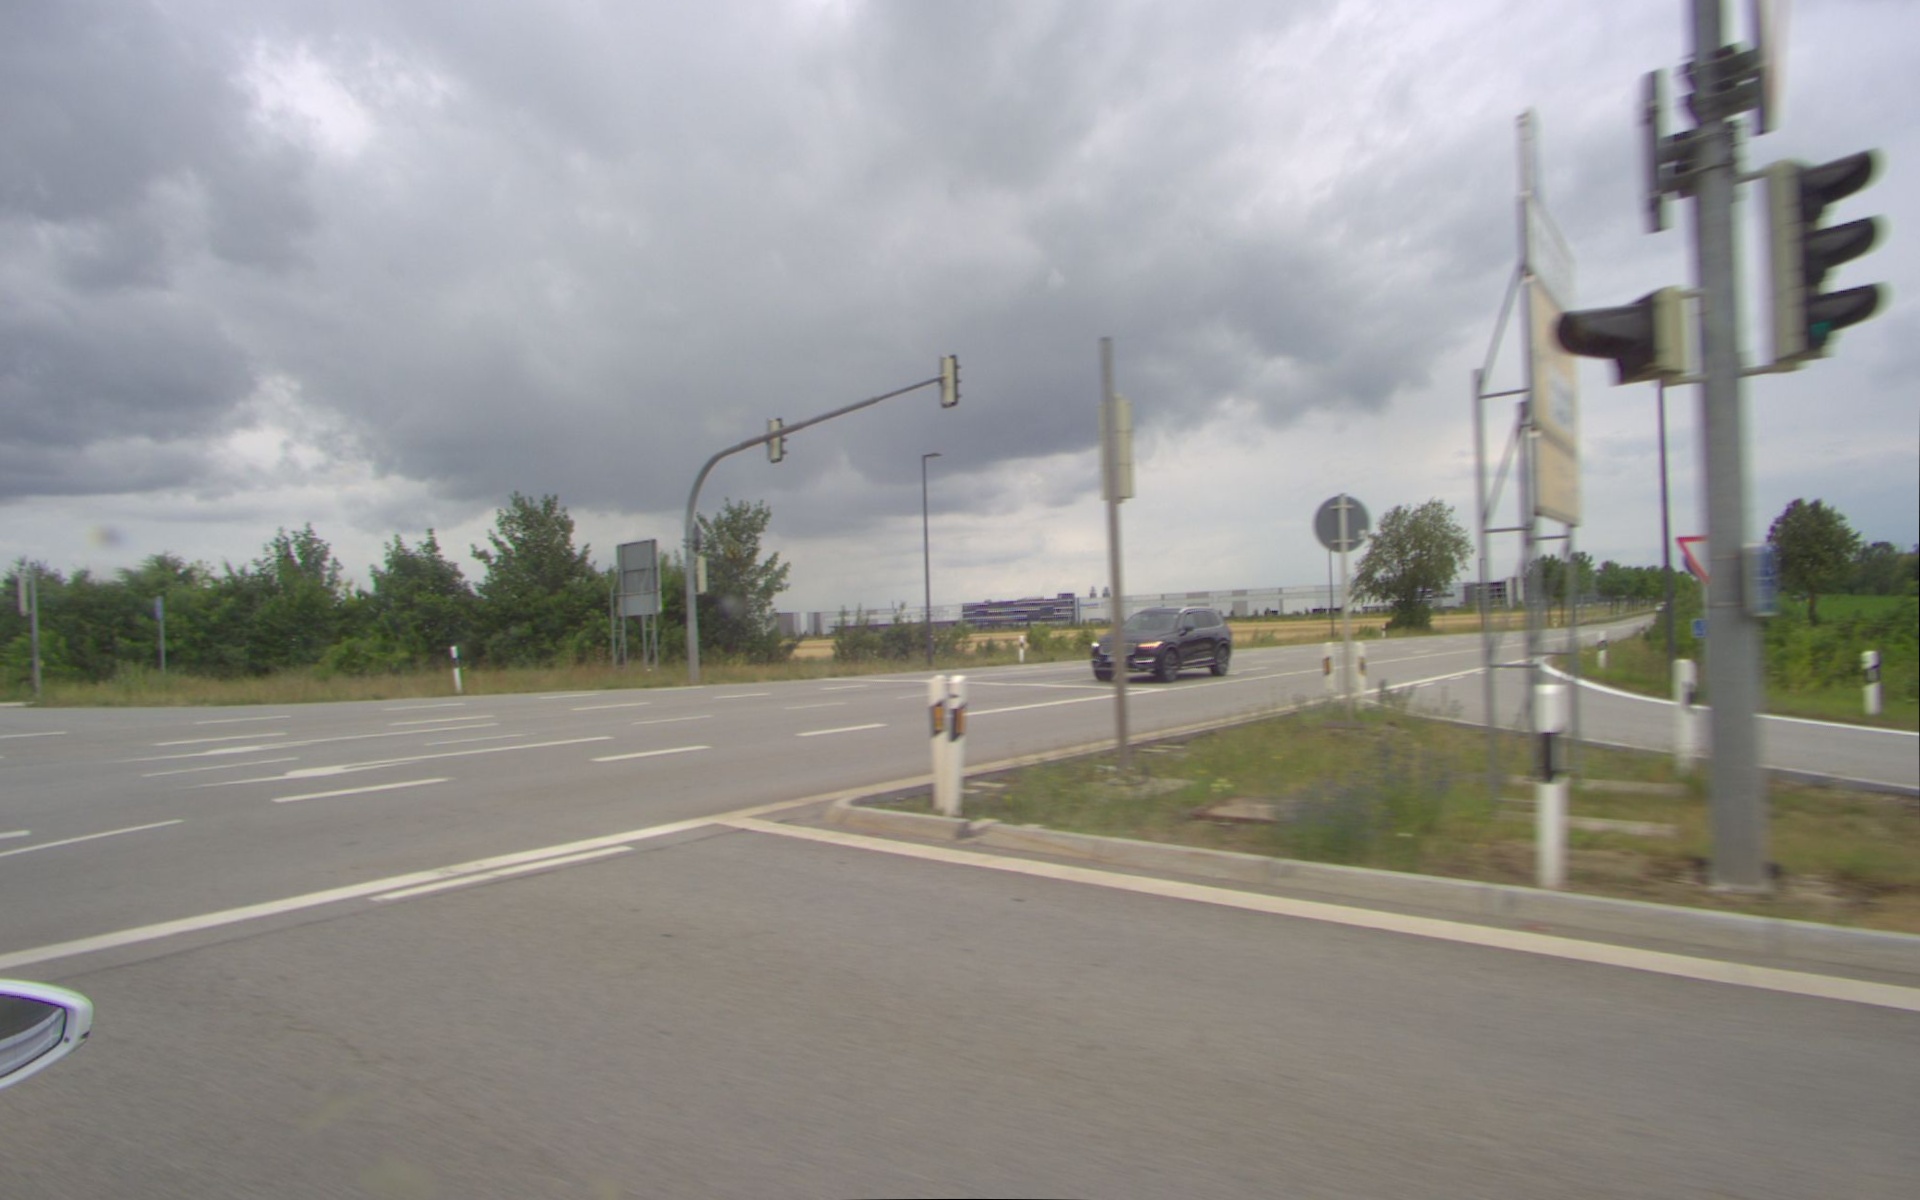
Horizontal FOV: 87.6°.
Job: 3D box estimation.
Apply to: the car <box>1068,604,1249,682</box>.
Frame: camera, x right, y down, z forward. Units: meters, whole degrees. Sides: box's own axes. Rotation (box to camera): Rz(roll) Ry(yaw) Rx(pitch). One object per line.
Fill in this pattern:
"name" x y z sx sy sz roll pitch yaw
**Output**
"car" 4.962 0.988 24.565 1.980 1.705 4.953 -2 -2 44
